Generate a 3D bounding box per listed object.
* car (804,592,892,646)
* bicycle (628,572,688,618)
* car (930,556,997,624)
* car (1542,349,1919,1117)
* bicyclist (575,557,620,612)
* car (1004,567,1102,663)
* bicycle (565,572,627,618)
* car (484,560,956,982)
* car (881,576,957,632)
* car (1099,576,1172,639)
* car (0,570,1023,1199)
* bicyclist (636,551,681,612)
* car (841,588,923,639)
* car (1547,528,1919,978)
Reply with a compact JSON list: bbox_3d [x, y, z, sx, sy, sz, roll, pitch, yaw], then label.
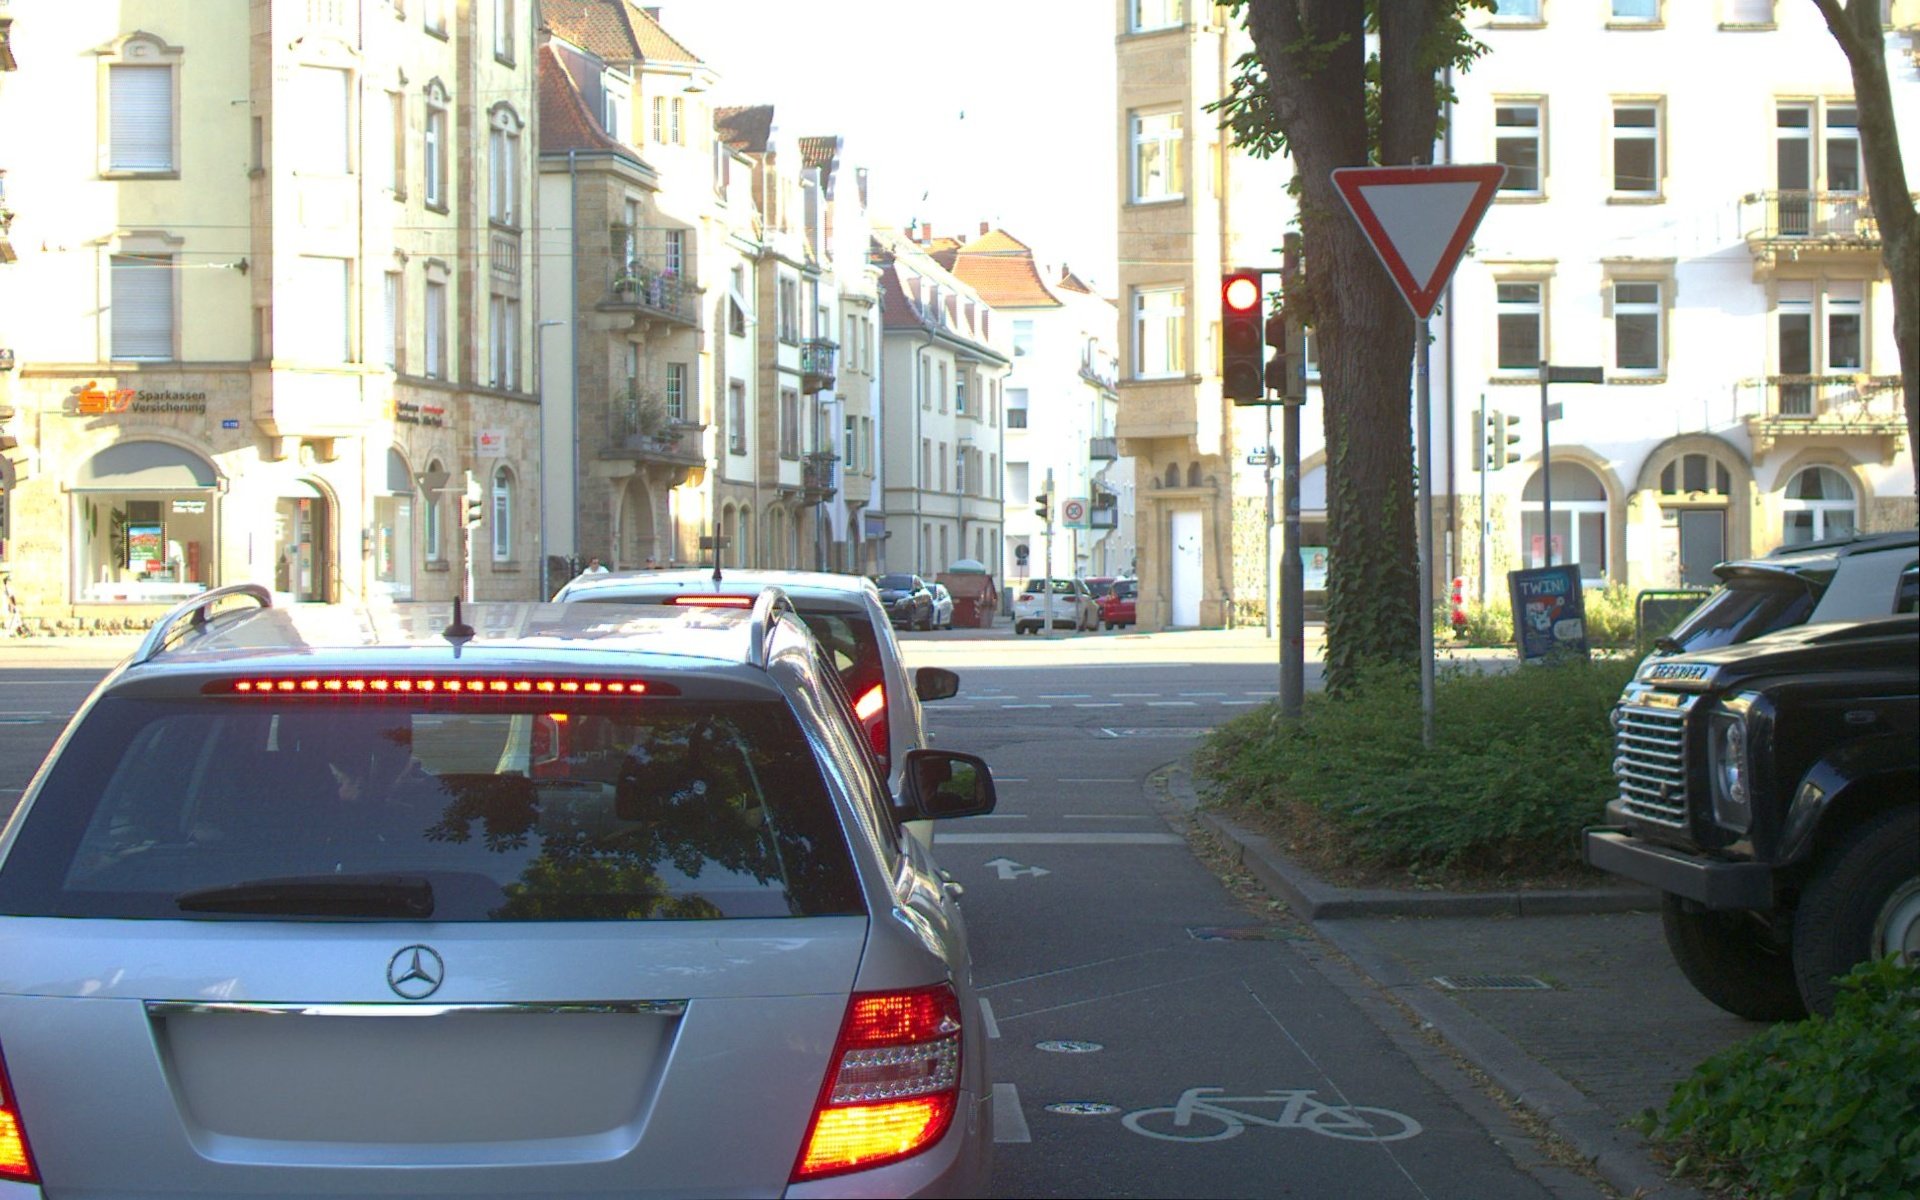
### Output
[{"bbox_3d":[-3.150,0.516,97.041,1.835,1.397,3.999,0,1,8],"label":"car"},{"bbox_3d":[-6.439,-0.107,73.474,0.771,0.931,1.939,1,1,11],"label":"bicycle"},{"bbox_3d":[0.140,-0.362,117.349,1.787,2.196,3.999,0,1,8],"label":"car"},{"bbox_3d":[4.138,0.300,10.121,4.465,2.029,1.701,-1,0,-3],"label":"car"},{"bbox_3d":[-7.744,-0.339,73.461,0.771,1.152,0.752,1,1,11],"label":"bicyclist"},{"bbox_3d":[2.349,0.345,85.899,2.031,2.272,3.999,0,1,8],"label":"car"},{"bbox_3d":[-7.762,-0.117,73.386,0.771,0.936,1.939,1,1,11],"label":"bicycle"},{"bbox_3d":[-0.912,0.569,14.051,1.619,1.442,4.345,0,1,-2],"label":"car"},{"bbox_3d":[-1.269,0.110,108.761,1.835,1.657,3.999,0,1,8],"label":"car"},{"bbox_3d":[5.227,0.209,101.931,1.835,1.738,3.999,0,1,8],"label":"car"},{"bbox_3d":[-0.895,0.680,6.961,1.777,1.447,4.548,0,1,-2],"label":"car"},{"bbox_3d":[-6.437,-0.400,73.470,0.771,1.285,0.752,1,1,11],"label":"bicyclist"},{"bbox_3d":[-2.315,0.387,102.532,1.835,1.397,3.999,0,1,8],"label":"car"},{"bbox_3d":[4.293,0.499,13.090,3.723,1.564,1.709,-1,0,-4],"label":"car"}]
